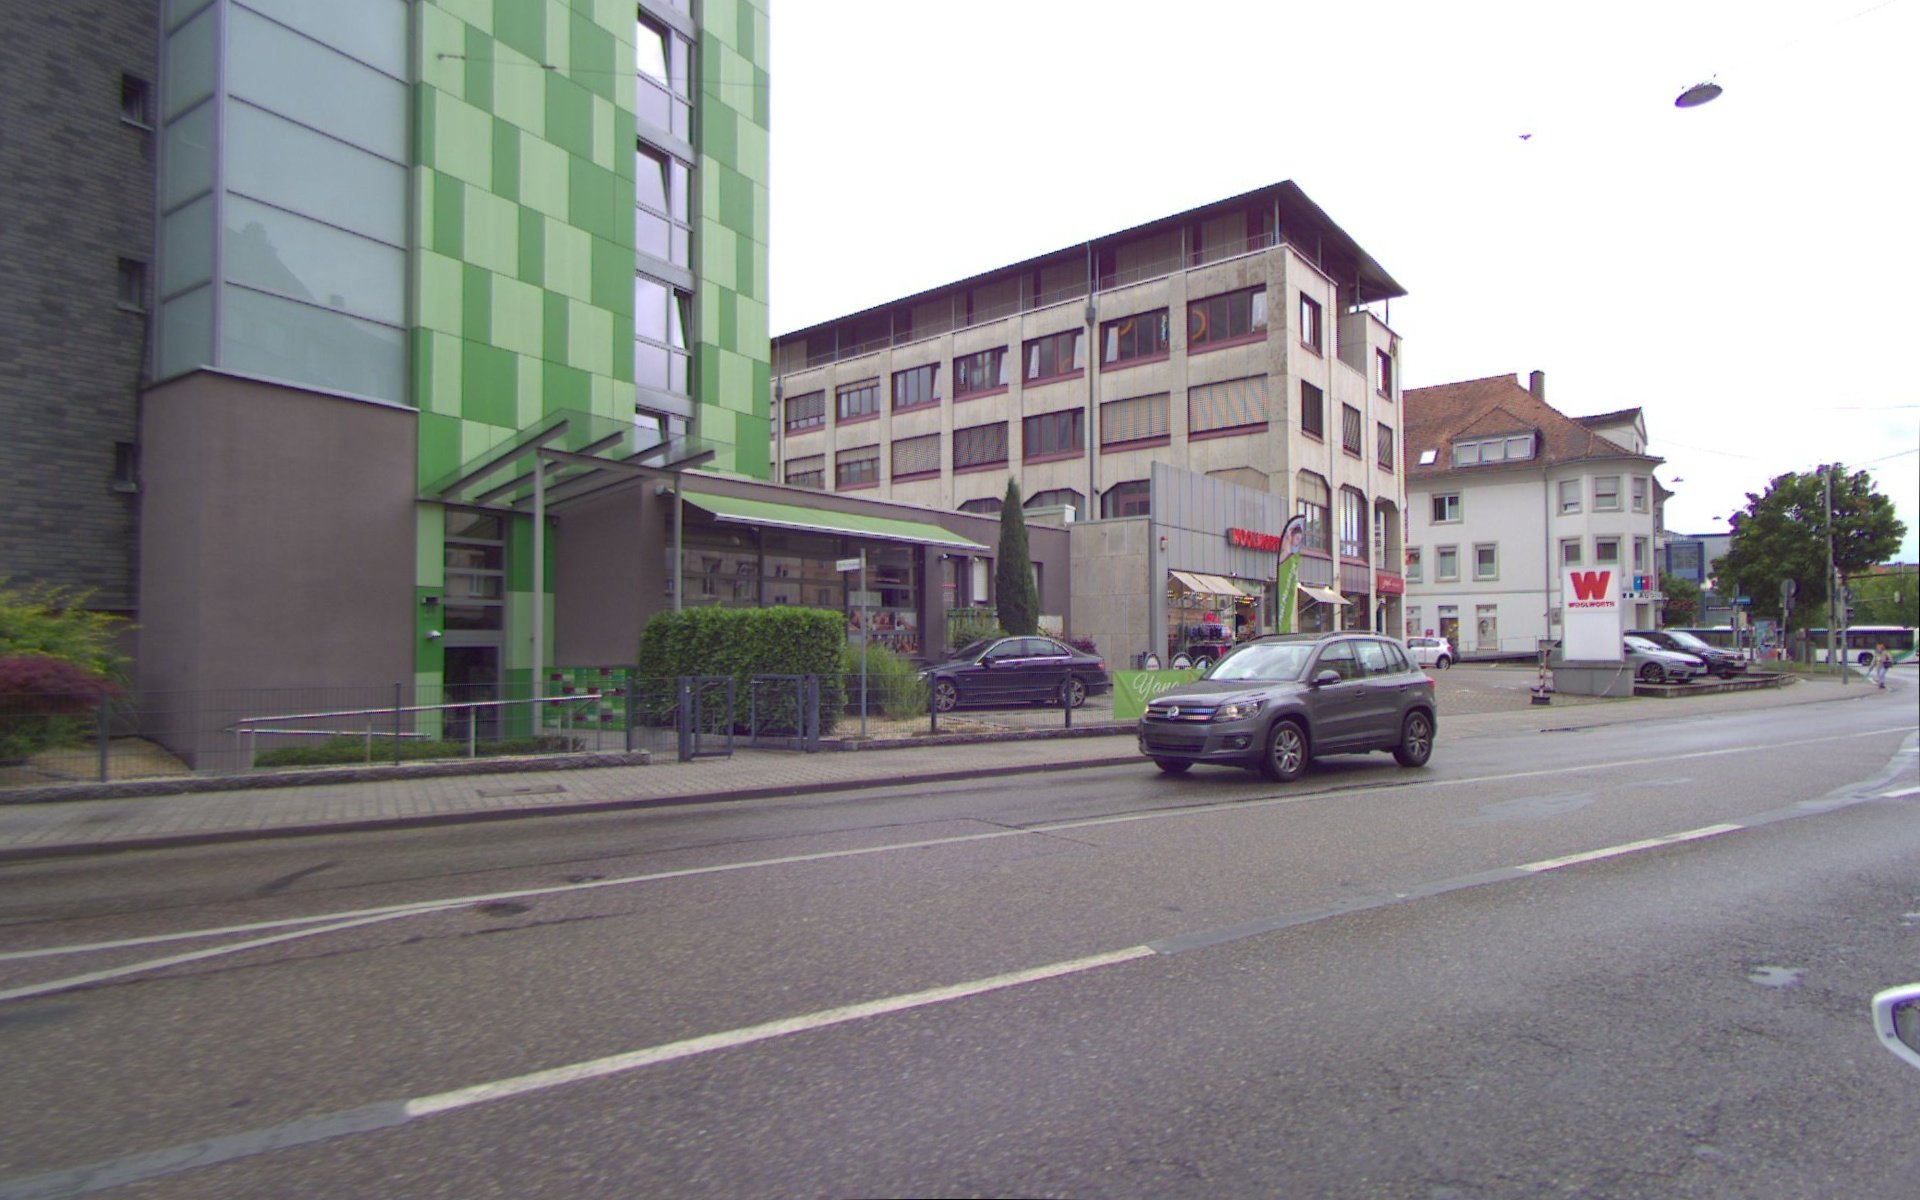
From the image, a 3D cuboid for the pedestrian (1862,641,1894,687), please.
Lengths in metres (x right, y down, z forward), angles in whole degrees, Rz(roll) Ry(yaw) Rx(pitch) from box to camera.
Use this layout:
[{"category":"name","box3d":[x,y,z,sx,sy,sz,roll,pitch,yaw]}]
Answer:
[{"category":"pedestrian","box3d":[31.775,2.200,34.780,0.751,1.549,0.506,1,-1,39]}]

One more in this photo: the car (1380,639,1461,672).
[{"category":"car","box3d":[26.740,3.204,58.347,3.938,1.839,1.992,-2,-3,38]}]

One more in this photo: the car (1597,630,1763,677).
[{"category":"car","box3d":[25.170,1.855,35.303,1.925,1.526,4.410,1,-3,-22]}]

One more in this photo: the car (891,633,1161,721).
[{"category":"car","box3d":[1.213,1.354,18.463,4.587,1.457,1.989,1,-3,-24]}]

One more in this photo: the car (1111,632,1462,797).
[{"category":"car","box3d":[3.998,1.247,12.180,4.012,1.681,1.938,2,-3,-32]}]

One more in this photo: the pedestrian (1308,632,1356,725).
[{"category":"pedestrian","box3d":[6.976,1.455,18.878,0.733,1.707,0.755,-1,-2,14]}]

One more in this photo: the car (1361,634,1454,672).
[{"category":"car","box3d":[20.357,2.405,45.732,3.699,1.519,1.578,4,-3,-16]}]

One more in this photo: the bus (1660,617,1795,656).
[{"category":"bus","box3d":[65.906,3.178,86.516,2.881,3.146,8.810,1,-3,-27]}]

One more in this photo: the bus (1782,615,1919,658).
[{"category":"bus","box3d":[69.706,2.843,77.865,2.871,3.146,9.112,0,-3,-17]}]

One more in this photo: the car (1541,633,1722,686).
[{"category":"car","box3d":[21.188,1.834,31.863,1.866,1.546,4.419,1,-3,-34]}]
